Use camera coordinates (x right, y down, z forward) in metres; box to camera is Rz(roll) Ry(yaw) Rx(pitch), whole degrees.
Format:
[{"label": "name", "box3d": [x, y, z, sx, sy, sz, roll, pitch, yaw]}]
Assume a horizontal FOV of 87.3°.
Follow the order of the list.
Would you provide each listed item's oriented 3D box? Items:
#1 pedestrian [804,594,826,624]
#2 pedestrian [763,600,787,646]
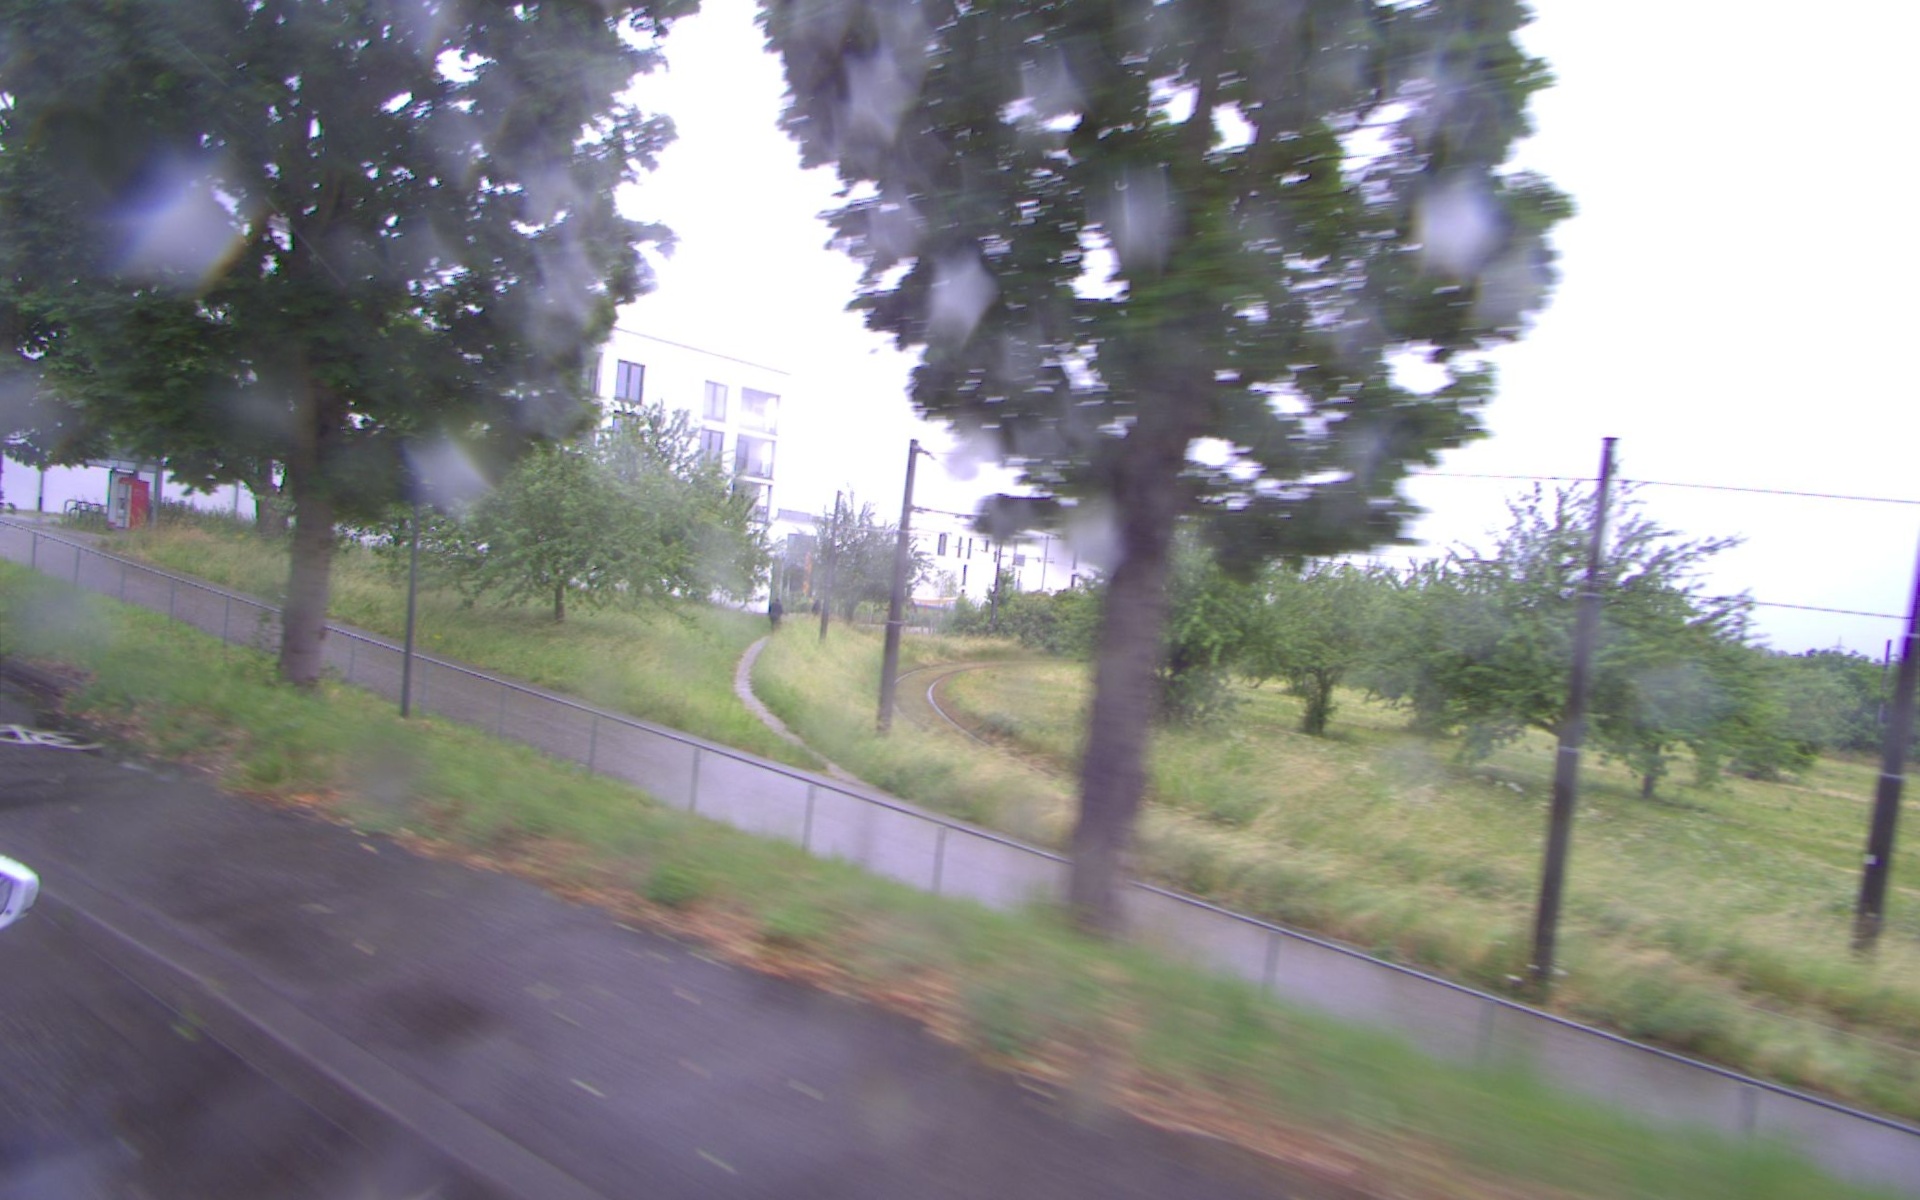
[{"label": "pedestrian", "box3d": [-9.612, 0.585, 66.583, 0.881, 1.807, 0.885, 10, 3, 43]}, {"label": "pedestrian", "box3d": [-8.675, 1.088, 47.139, 0.762, 2.040, 0.770, 7, 3, -3]}]
